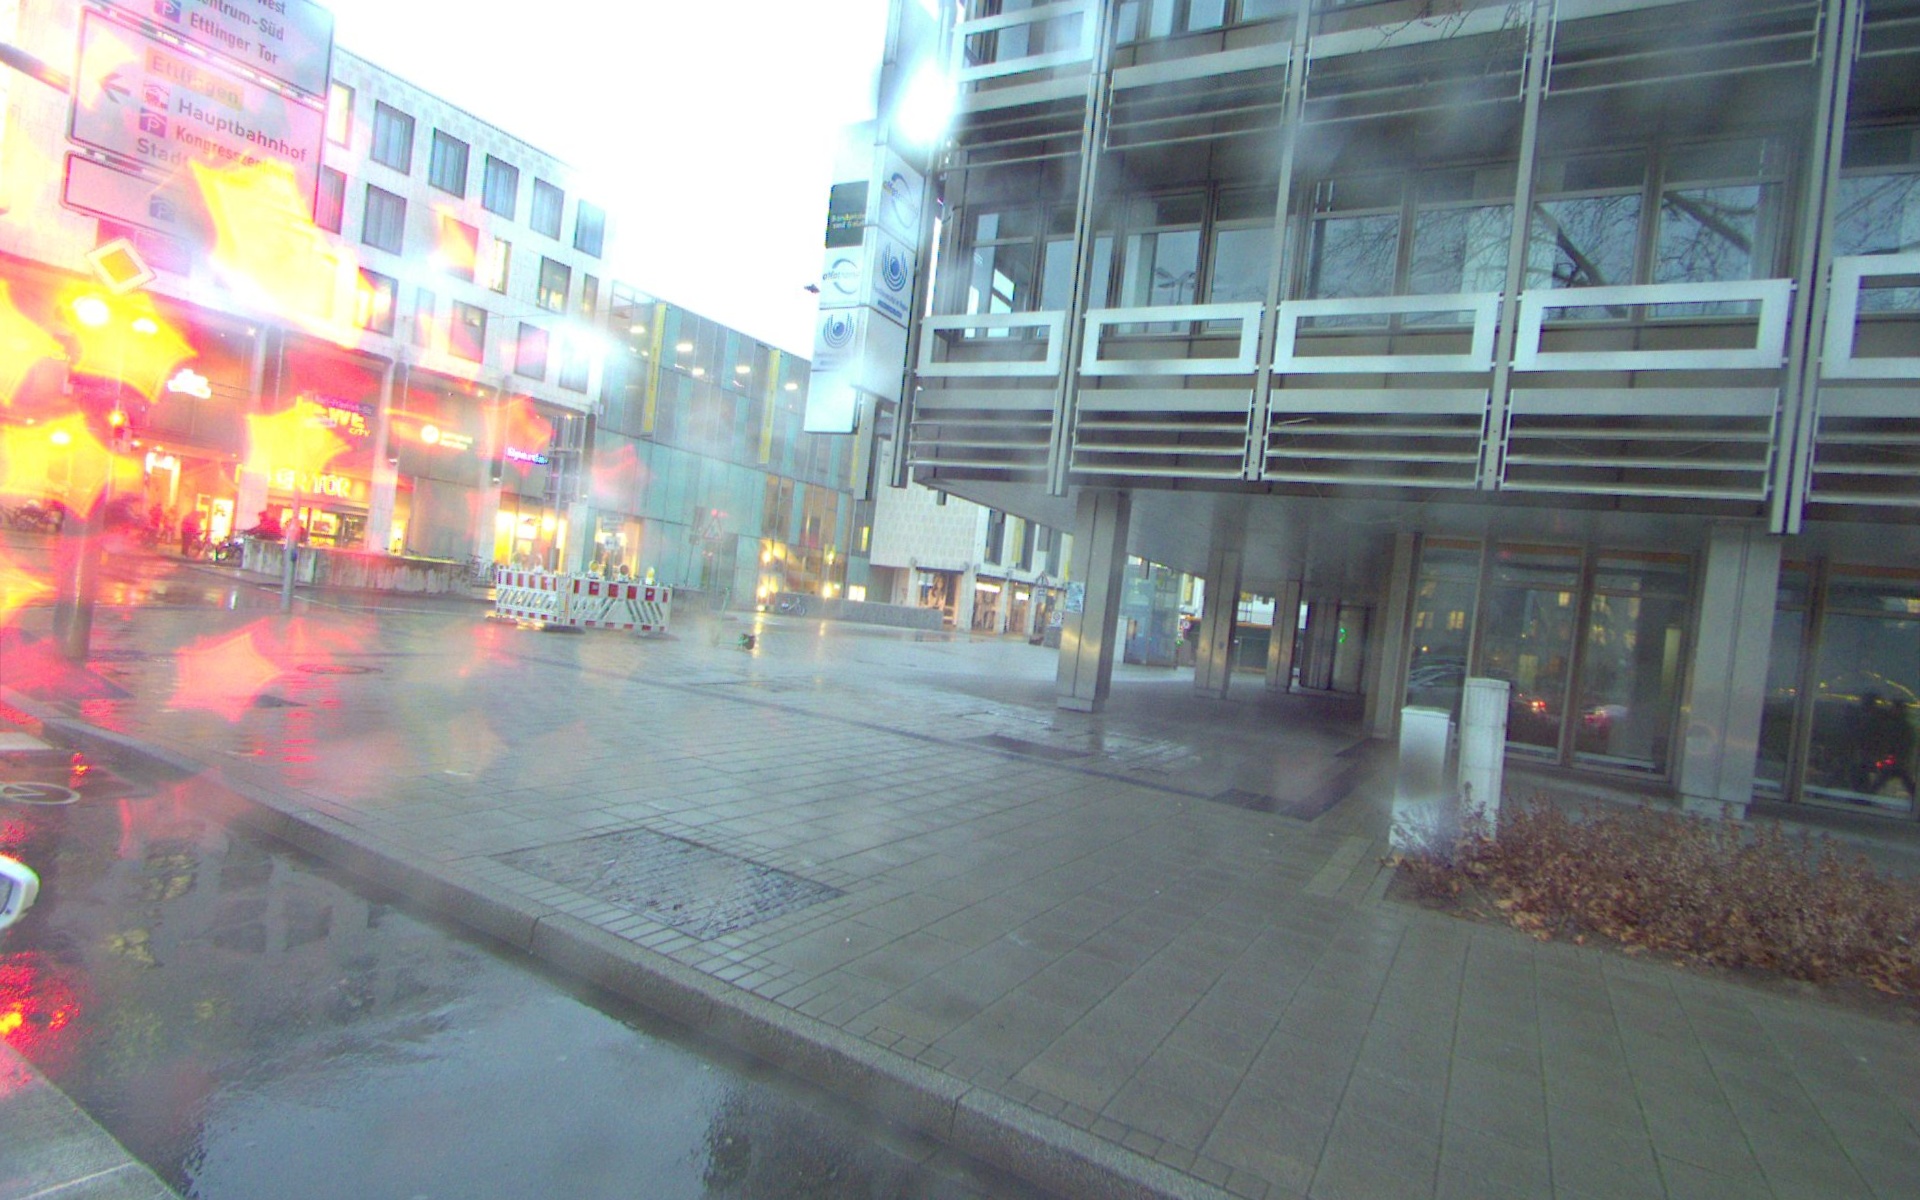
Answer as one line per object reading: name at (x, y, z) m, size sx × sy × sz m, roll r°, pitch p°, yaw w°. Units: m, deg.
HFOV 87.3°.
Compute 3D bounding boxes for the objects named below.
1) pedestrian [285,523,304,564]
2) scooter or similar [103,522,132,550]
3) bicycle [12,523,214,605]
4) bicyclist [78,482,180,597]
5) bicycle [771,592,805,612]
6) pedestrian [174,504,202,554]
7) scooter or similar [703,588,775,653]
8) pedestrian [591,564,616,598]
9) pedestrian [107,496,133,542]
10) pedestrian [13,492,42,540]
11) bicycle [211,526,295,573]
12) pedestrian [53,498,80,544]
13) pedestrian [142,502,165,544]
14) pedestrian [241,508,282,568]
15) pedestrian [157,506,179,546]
pedestrian at (-30.284, -2.573, 45.778) m, size 0.510 × 1.782 × 0.370 m, roll 6°, pitch 1°, yaw -42°
scooter or similar at (-33.550, -2.533, 40.053) m, size 0.394 × 1.005 × 0.741 m, roll 7°, pitch 0°, yaw 33°
bicycle at (-13.627, -0.547, 16.277) m, size 0.608 × 1.045 × 2.374 m, roll 7°, pitch 0°, yaw 34°
bicyclist at (-13.516, -0.977, 16.376) m, size 0.608 × 1.718 × 1.034 m, roll 7°, pitch 1°, yaw 34°
bicycle at (-10.549, 0.118, 61.756) m, size 2.101 × 1.046 × 0.616 m, roll 6°, pitch 0°, yaw 33°
pedestrian at (-27.963, -2.561, 36.430) m, size 0.529 × 1.706 × 0.546 m, roll 6°, pitch 1°, yaw -21°
scooter or similar at (-4.437, 0.412, 20.180) m, size 1.215 × 1.144 × 0.606 m, roll 7°, pitch 0°, yaw 32°
pedestrian at (-18.337, -0.974, 51.755) m, size 0.697 × 1.650 × 0.795 m, roll 6°, pitch -1°, yaw 31°
pedestrian at (-33.446, -3.202, 40.065) m, size 0.529 × 1.739 × 0.500 m, roll 6°, pitch 1°, yaw -21°
pedestrian at (-35.685, -3.208, 38.508) m, size 0.529 × 1.739 × 0.500 m, roll 6°, pitch 1°, yaw -21°
bicycle at (-20.307, -1.437, 28.928) m, size 1.839 × 1.107 × 0.610 m, roll 7°, pitch 0°, yaw -44°
pedestrian at (-34.943, -3.082, 39.342) m, size 0.529 × 1.739 × 0.500 m, roll 6°, pitch 1°, yaw -21°
pedestrian at (-35.374, -3.368, 44.128) m, size 0.529 × 1.739 × 0.500 m, roll 6°, pitch 1°, yaw -21°
pedestrian at (-20.160, -1.789, 29.043) m, size 0.778 × 1.615 × 0.605 m, roll 6°, pitch 1°, yaw -43°
pedestrian at (-36.164, -3.391, 45.961) m, size 0.529 × 1.739 × 0.500 m, roll 6°, pitch 1°, yaw -21°
